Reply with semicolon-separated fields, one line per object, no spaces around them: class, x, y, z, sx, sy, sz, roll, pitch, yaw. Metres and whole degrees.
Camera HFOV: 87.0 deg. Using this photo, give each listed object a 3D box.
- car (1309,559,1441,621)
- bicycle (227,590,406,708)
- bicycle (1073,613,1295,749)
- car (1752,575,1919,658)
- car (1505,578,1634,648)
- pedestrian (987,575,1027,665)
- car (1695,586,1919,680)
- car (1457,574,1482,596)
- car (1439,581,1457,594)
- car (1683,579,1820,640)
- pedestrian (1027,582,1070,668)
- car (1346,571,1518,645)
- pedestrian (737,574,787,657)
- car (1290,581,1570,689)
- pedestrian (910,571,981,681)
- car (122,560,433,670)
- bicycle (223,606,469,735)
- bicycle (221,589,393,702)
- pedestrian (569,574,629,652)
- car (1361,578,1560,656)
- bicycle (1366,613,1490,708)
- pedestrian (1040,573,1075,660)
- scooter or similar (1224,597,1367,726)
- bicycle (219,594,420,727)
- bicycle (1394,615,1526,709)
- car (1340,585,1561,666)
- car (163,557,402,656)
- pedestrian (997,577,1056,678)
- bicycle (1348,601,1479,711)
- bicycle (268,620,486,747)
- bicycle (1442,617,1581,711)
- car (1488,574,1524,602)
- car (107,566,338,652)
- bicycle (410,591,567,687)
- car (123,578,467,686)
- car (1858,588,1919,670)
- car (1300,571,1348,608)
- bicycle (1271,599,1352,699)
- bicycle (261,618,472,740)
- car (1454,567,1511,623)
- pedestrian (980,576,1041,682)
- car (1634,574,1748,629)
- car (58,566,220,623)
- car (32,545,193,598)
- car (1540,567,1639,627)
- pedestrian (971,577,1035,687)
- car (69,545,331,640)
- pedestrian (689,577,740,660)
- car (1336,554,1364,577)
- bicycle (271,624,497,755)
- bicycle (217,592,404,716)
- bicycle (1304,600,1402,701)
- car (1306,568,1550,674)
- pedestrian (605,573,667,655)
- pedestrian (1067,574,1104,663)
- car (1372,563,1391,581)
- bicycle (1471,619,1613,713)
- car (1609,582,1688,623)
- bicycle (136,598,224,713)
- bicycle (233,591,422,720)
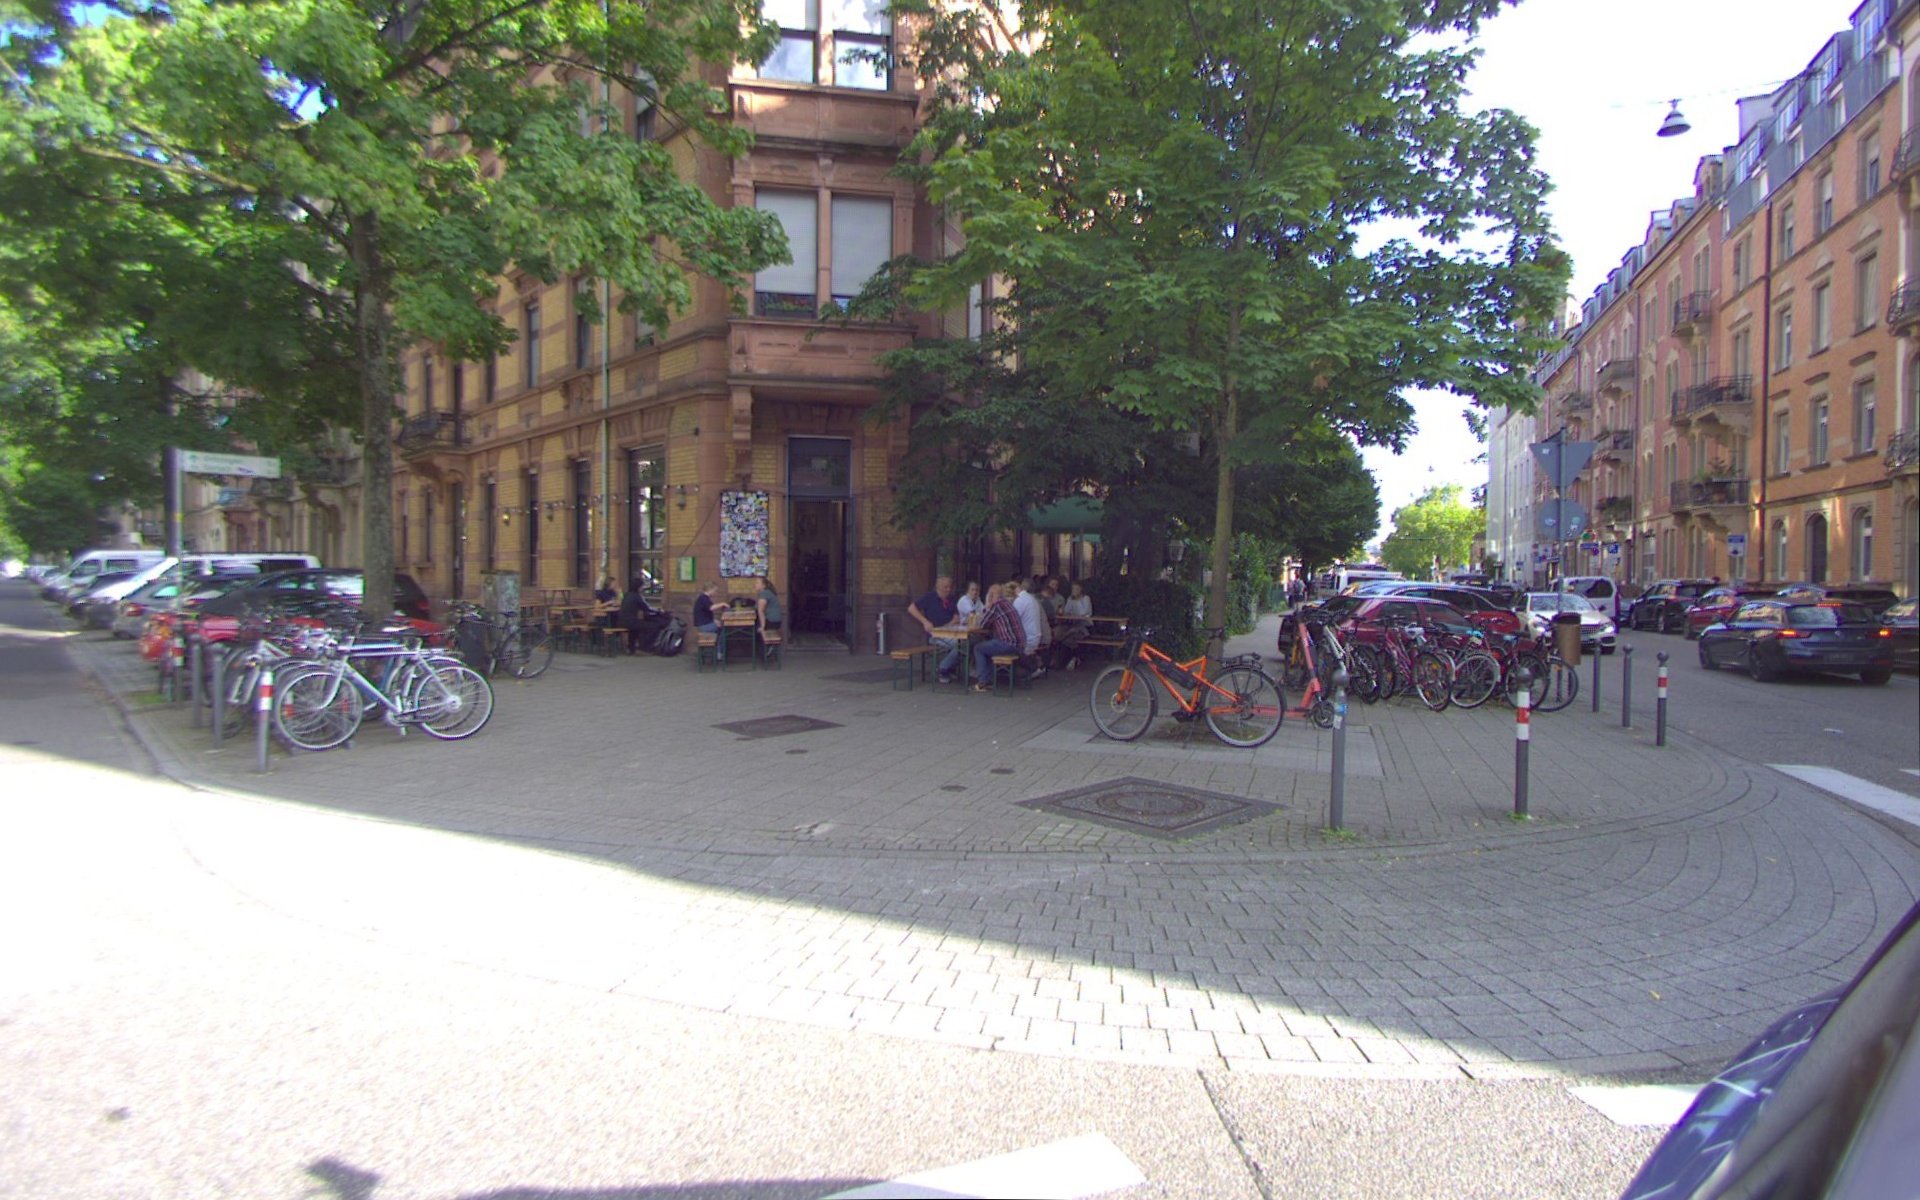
car;17.144;-0.432;41.904;4.641;2.453;2.003;-1;0;-10
bicycle;-7.449;0.527;11.784;0.446;1.216;1.689;2;3;38
bicycle;1.992;0.675;9.020;1.835;1.048;0.679;1;1;22
car;19.150;0.285;22.025;1.841;1.604;4.367;-1;1;22
car;15.370;0.275;25.793;1.921;1.617;4.804;-1;1;21
pedestrian;0.708;0.288;15.328;0.538;1.317;0.622;1;2;-2
car;14.856;0.502;18.007;1.749;1.399;4.420;-2;1;21
car;46.606;-1.429;92.565;1.708;1.957;3.982;1;1;22
car;54.153;-1.402;112.294;1.607;1.396;3.733;1;1;22
car;21.295;0.216;27.418;1.741;1.515;4.105;-1;1;21
pedestrian;1.316;0.357;15.139;0.538;1.247;0.622;1;2;-2
car;11.795;0.172;25.444;3.519;1.632;1.514;3;1;-1
pedestrian;-3.184;0.238;16.269;0.629;1.274;0.512;-2;4;-36
car;7.109;0.505;15.514;3.517;1.397;1.515;3;1;-3
pedestrian;-0.199;0.320;13.379;0.657;1.396;0.718;-1;2;-33
car;-11.703;0.158;17.570;4.234;1.588;2.006;-3;3;-37
bicycle;-5.972;0.651;9.956;2.005;1.102;0.449;-2;3;-30
bicycle;-7.826;0.511;12.178;1.682;1.216;0.448;-3;3;-39
pedestrian;-6.270;0.208;17.606;0.757;1.300;0.627;-3;3;-45
car;10.888;0.351;22.173;3.519;1.482;1.514;3;1;-1
bicycle;5.851;0.727;12.770;0.409;0.997;1.843;2;2;-9
pedestrian;1.541;0.252;16.113;0.458;1.343;0.622;1;2;-2
scooter or similar;3.438;0.597;10.435;0.546;1.226;1.292;2;0;-38
bicycle;-6.479;0.580;10.328;1.678;1.216;0.449;-2;3;-30
bicycle;6.333;0.749;12.936;0.462;0.997;1.869;2;2;-9
car;9.513;0.464;19.799;3.519;1.339;1.514;3;1;-1
car;-13.104;0.080;19.660;3.644;1.743;1.858;-1;1;-41
pedestrian;0.917;0.358;13.783;0.717;1.332;0.606;1;0;10
bicycle;5.504;0.640;12.409;0.465;1.157;1.843;2;2;-9
bicycle;-5.320;0.731;9.317;1.678;0.999;0.449;-2;3;-30
bicycle;6.983;0.779;12.919;0.462;0.997;1.869;2;2;-9
car;37.342;-0.834;69.281;1.666;1.807;3.990;1;1;22
car;-15.121;0.128;20.842;3.646;1.475;1.667;-5;3;-41
bicycle;-6.205;0.477;13.373;1.768;1.127;0.599;-3;3;-39
car;-9.788;0.385;15.132;1.563;1.286;4.048;0;2;45
car;17.427;0.498;17.434;1.704;1.386;3.801;-1;1;22
car;18.814;-0.528;52.211;1.720;1.825;3.960;-1;1;28
bicycle;4.421;0.578;12.831;0.426;1.114;1.675;2;2;2
bicycle;-5.609;0.717;9.650;1.678;0.999;0.449;-2;3;-30
car;20.725;-0.242;40.269;1.775;2.089;3.967;1;1;24
pedestrian;0.665;0.367;13.211;0.717;1.332;0.519;1;0;10
car;23.357;0.020;32.516;1.740;1.618;4.316;-1;1;19
car;-30.421;-0.260;37.594;1.930;1.855;4.391;1;4;43
car;-37.496;-1.247;44.902;5.390;2.229;1.996;-1;1;-43
car;21.417;-0.115;34.642;1.921;1.903;4.804;-1;1;21
pedestrian;0.542;0.392;12.714;0.717;1.332;0.519;1;0;10
car;-18.560;-0.286;24.897;2.040;2.013;4.837;2;5;43
pedestrian;-3.857;0.275;15.881;0.629;1.239;0.512;-2;4;-36
car;32.245;-2.854;83.795;1.825;1.756;3.980;-1;1;16
bicycle;-5.045;0.751;8.953;1.678;0.981;0.449;-2;3;-30
bicycle;-7.227;0.554;11.340;0.446;1.216;1.689;2;3;38
bicycle;4.951;0.604;12.867;0.466;1.114;1.677;2;2;-3
car;8.184;0.338;17.901;3.519;1.635;1.514;3;1;-1
pedestrian;-5.436;0.217;16.987;0.757;1.300;0.627;-3;3;-45
pedestrian;1.929;0.275;15.607;0.458;1.343;0.622;1;2;-2
car;48.095;-3.181;115.428;1.978;1.912;3.968;-1;0;24
bicycle;7.415;0.803;13.011;0.462;0.997;1.869;2;2;-9
car;25.191;0.058;37.134;1.607;1.396;3.734;0;1;22
bicycle;-9.216;0.592;11.917;0.572;1.109;2.496;-5;5;-42
bicycle;-6.806;0.553;10.977;0.445;1.216;1.693;1;3;33
